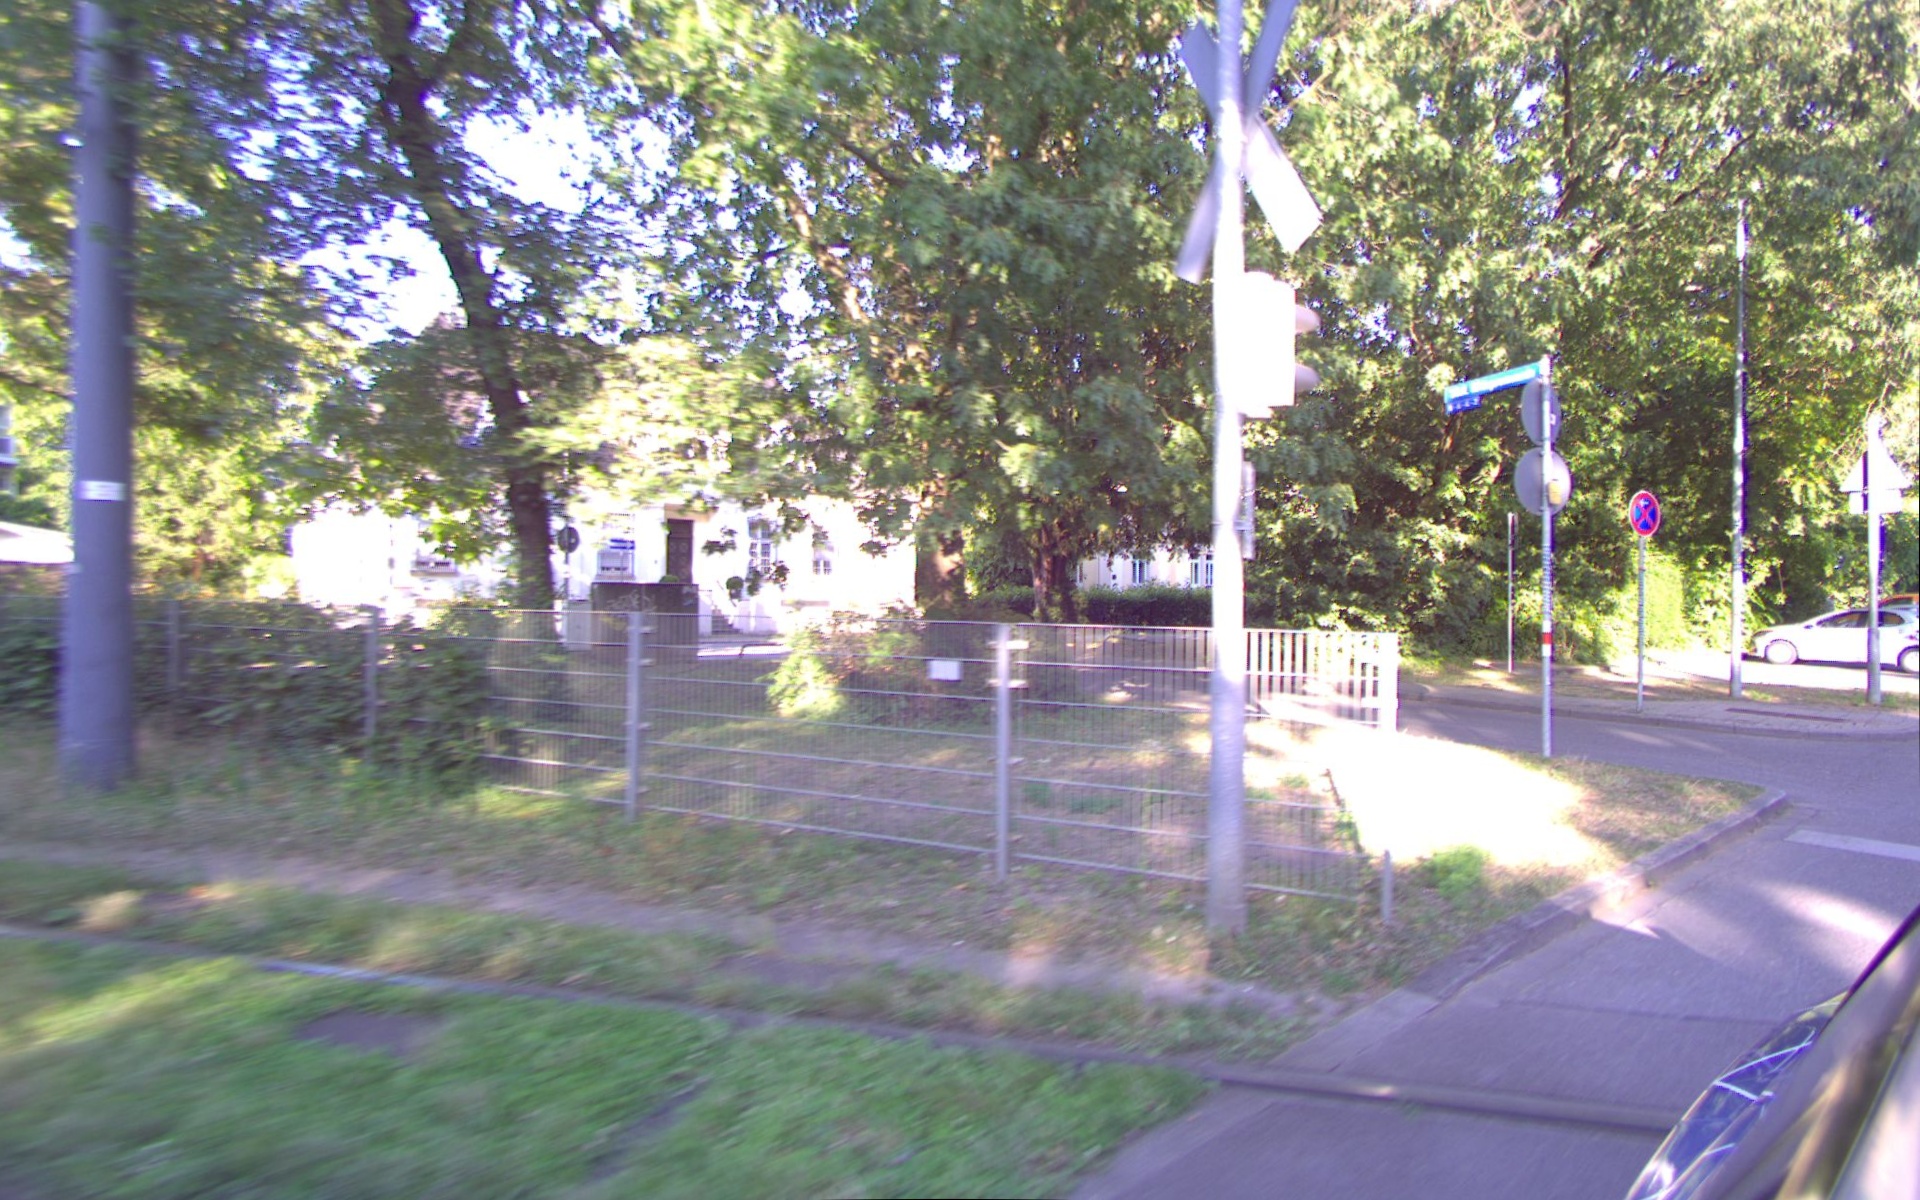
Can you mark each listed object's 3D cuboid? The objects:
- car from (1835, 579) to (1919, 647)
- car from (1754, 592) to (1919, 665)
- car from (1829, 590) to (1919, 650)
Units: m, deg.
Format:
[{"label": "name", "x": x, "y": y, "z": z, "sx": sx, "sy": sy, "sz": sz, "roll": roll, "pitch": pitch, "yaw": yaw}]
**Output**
[{"label": "car", "x": 30.394, "y": 0.446, "z": 31.203, "sx": 2.043, "sy": 2.022, "sz": 4.808, "roll": 0, "pitch": 3, "yaw": -38}, {"label": "car", "x": 22.112, "y": 0.654, "z": 24.698, "sx": 1.703, "sy": 1.565, "sz": 3.998, "roll": 0, "pitch": 3, "yaw": -38}, {"label": "car", "x": 28.086, "y": 0.585, "z": 29.817, "sx": 1.647, "sy": 1.651, "sz": 3.409, "roll": 0, "pitch": 2, "yaw": -34}]
